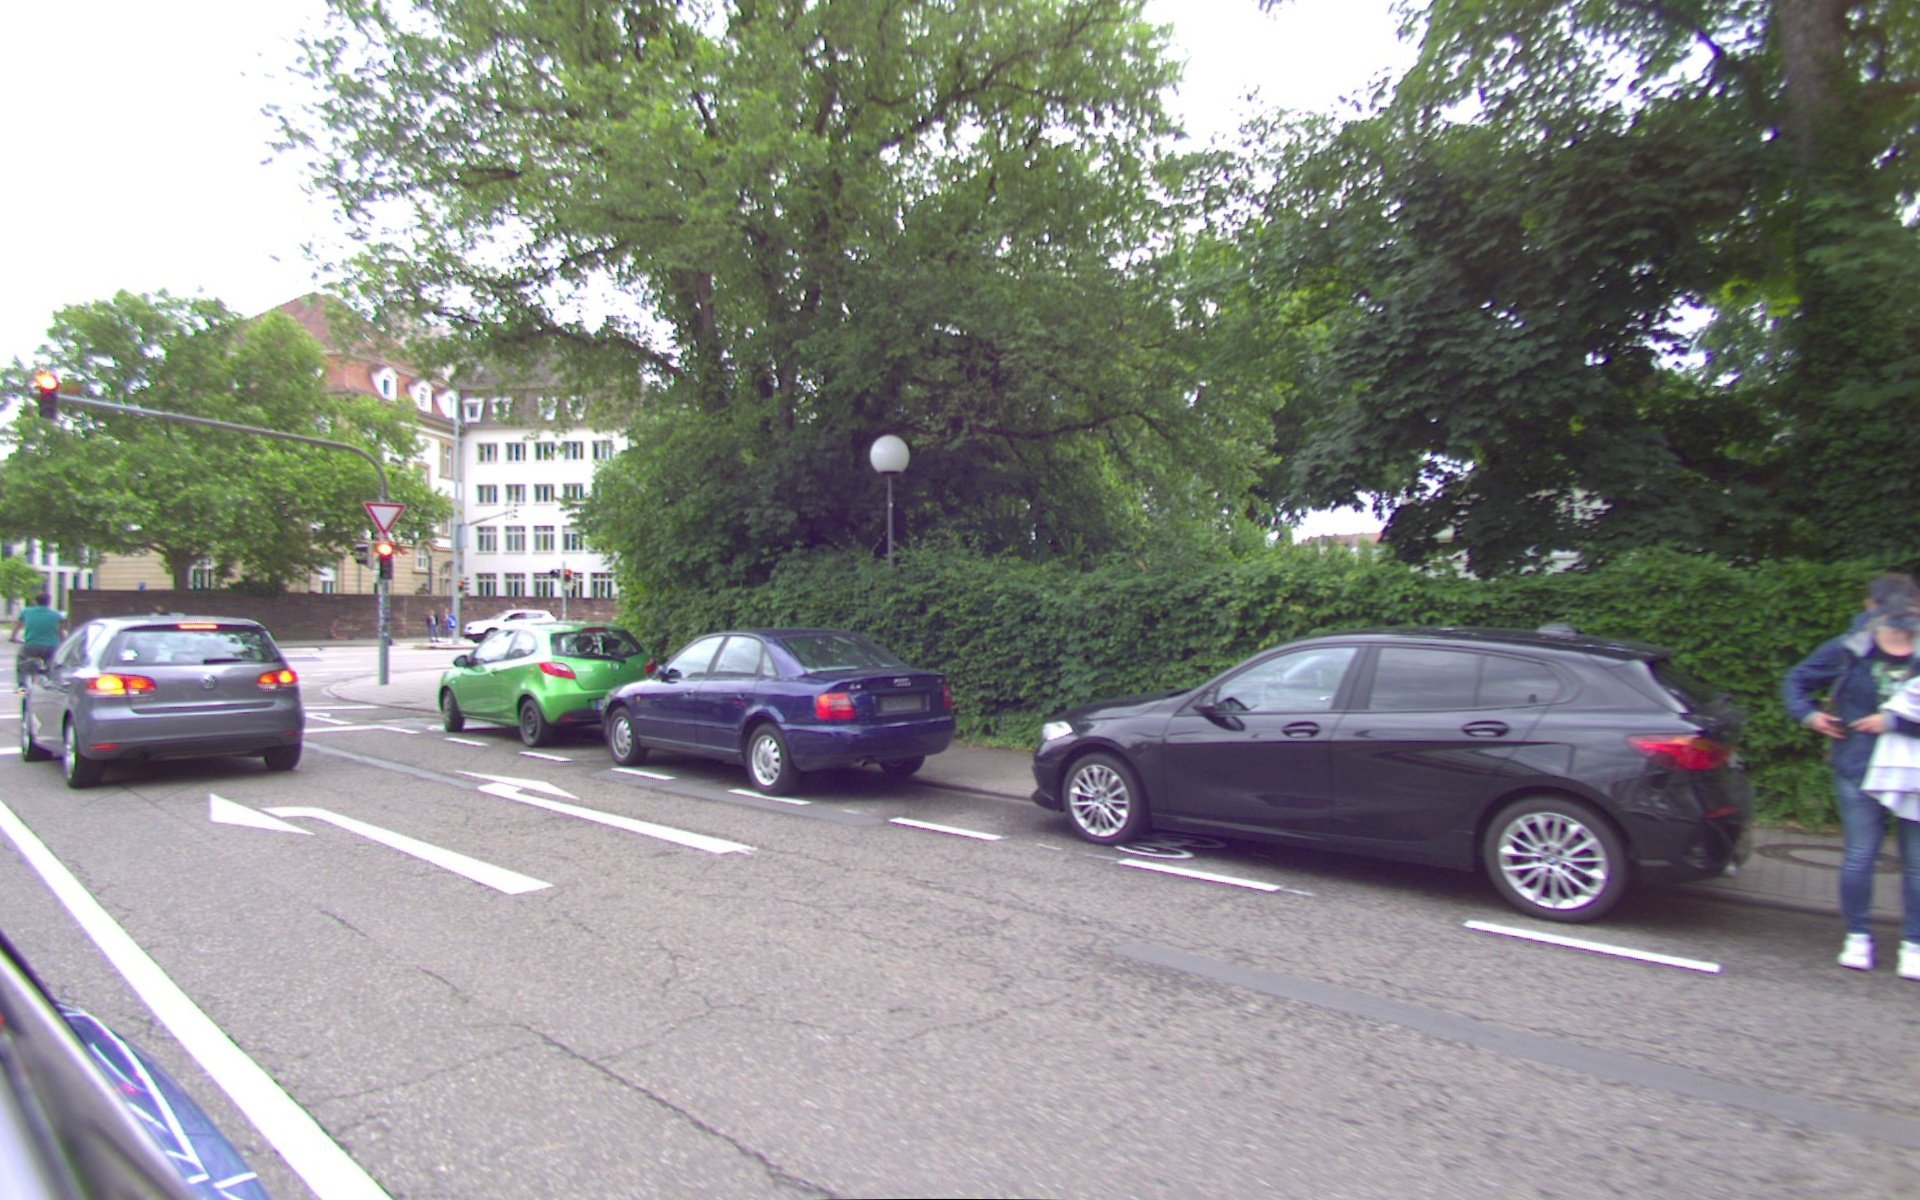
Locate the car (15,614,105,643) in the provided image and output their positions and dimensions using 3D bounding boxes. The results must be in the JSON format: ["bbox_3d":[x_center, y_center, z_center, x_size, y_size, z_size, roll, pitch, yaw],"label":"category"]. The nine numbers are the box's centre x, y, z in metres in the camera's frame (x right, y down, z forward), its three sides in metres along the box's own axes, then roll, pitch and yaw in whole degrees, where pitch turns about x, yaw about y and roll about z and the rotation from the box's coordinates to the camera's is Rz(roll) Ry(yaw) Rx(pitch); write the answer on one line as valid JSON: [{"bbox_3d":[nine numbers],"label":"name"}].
[{"bbox_3d":[-62.596,1.976,70.495,1.978,1.593,4.393,-11,-1,7],"label":"car"}]

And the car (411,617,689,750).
[{"bbox_3d":[-5.547,0.973,13.427,4.248,1.481,1.778,-1,-2,43],"label":"car"}]

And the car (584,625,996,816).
[{"bbox_3d":[-1.840,0.976,9.892,4.338,1.419,1.777,-1,-2,45],"label":"car"}]

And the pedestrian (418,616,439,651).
[{"bbox_3d":[-26.817,1.681,51.072,0.734,1.752,0.662,0,-1,38],"label":"pedestrian"}]

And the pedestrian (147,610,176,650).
[{"bbox_3d":[-34.543,1.312,43.771,0.790,1.677,0.798,-5,-3,39],"label":"pedestrian"}]

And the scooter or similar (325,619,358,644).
[{"bbox_3d":[-30.753,1.557,50.324,1.389,1.239,0.497,1,0,-30],"label":"scooter or similar"}]

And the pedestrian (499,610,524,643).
[{"bbox_3d":[-24.468,1.431,55.263,0.757,1.802,0.993,1,0,40],"label":"pedestrian"}]

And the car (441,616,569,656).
[{"bbox_3d":[-22.048,1.731,49.196,2.048,1.710,5.296,-4,-2,44],"label":"car"}]

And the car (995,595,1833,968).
[{"bbox_3d":[2.536,0.834,6.451,4.528,1.573,1.779,-2,-2,41],"label":"car"}]

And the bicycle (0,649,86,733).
[{"bbox_3d":[-12.848,1.220,14.009,1.852,1.045,0.652,0,-2,34],"label":"bicycle"}]

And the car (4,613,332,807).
[{"bbox_3d":[-7.892,0.892,9.942,4.165,1.508,1.764,-1,-2,41],"label":"car"}]

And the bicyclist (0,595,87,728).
[{"bbox_3d":[-12.847,0.835,14.189,0.981,1.793,0.652,-1,-2,34],"label":"bicyclist"}]

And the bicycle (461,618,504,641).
[{"bbox_3d":[-26.361,1.617,55.917,0.581,1.194,2.132,1,0,32],"label":"bicycle"}]

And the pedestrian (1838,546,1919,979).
[{"bbox_3d":[4.164,0.628,4.021,0.967,1.674,0.731,-2,-3,42],"label":"pedestrian"}]

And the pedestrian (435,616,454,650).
[{"bbox_3d":[-26.345,1.700,51.718,0.779,1.706,0.634,1,0,41],"label":"pedestrian"}]
